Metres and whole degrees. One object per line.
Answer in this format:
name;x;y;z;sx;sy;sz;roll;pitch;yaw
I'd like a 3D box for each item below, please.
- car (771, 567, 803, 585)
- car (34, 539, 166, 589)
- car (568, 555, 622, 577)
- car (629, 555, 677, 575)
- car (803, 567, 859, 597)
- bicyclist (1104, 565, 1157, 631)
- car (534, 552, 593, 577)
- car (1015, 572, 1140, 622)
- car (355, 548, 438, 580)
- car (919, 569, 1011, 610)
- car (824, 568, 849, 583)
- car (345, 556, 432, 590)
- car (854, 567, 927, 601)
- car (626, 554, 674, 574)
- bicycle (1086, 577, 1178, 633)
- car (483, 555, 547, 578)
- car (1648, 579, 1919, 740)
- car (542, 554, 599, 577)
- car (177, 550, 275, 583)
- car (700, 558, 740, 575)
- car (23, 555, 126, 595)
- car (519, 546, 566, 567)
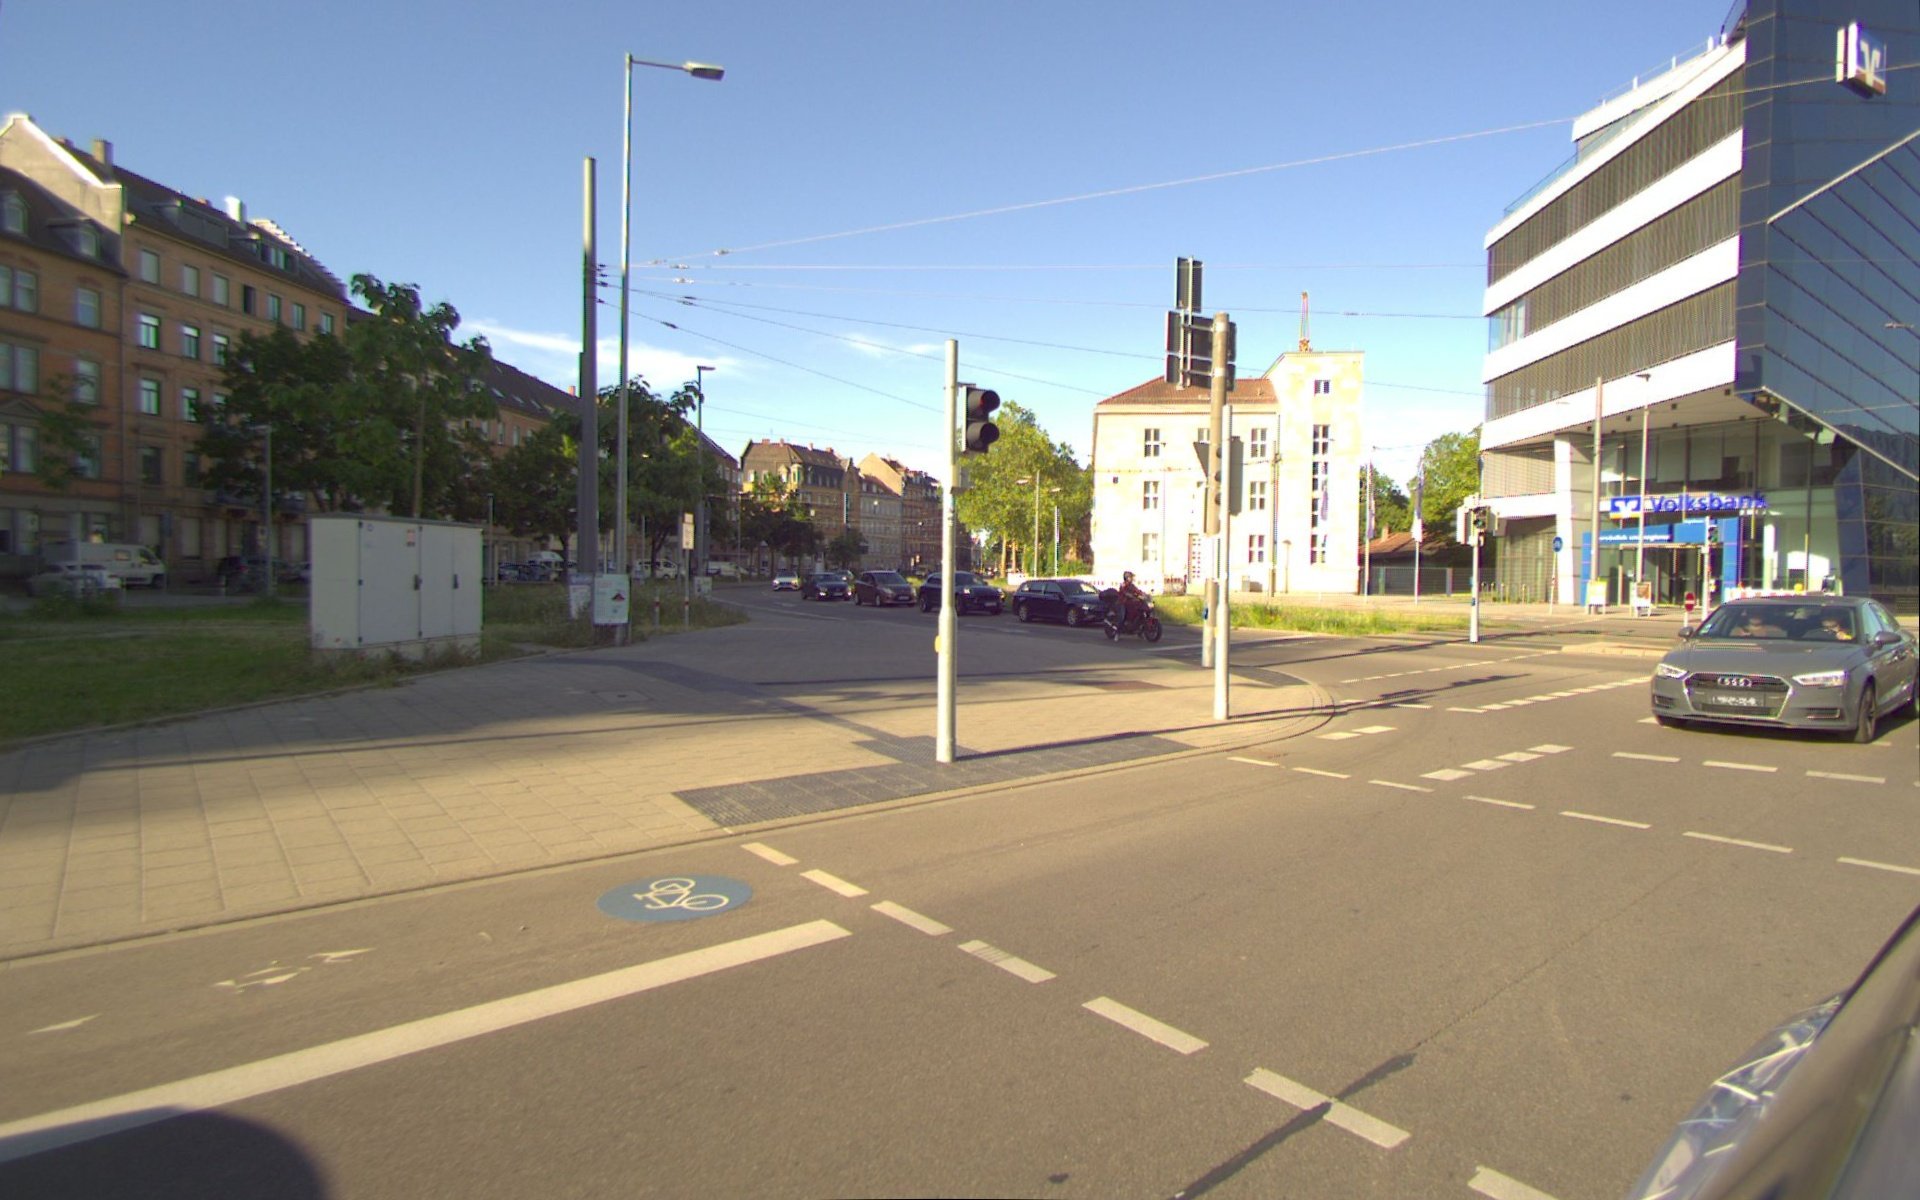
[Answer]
car;-12.657;-1.752;74.106;1.960;1.259;4.005;0;2;-5
car;-40.458;-1.683;47.754;1.967;2.239;4.583;1;2;9
car;-29.226;-2.728;81.105;3.917;1.738;2.004;0;2;-26
car;-27.435;-3.137;90.433;3.917;1.738;2.004;0;2;-26
car;-6.805;-0.965;52.896;1.958;1.439;4.537;0;2;-20
bicyclist;4.329;-0.067;25.690;0.862;1.627;1.009;0;2;-33
car;-29.335;-2.614;74.930;3.917;1.738;2.004;0;2;-26
car;3.684;-0.144;32.517;1.959;1.439;4.303;0;2;-26
car;-31.292;-1.999;56.230;3.923;1.738;2.001;-1;2;-34
car;0.146;-0.442;39.200;1.959;1.439;4.007;0;2;-26
car;-12.329;-2.475;100.932;1.898;1.393;4.000;1;2;1
car;-30.466;-1.440;53.941;3.923;1.738;2.001;-1;2;-34
car;-3.202;-0.741;45.902;1.959;1.439;4.007;0;2;-26
car;-28.490;-3.288;93.023;4.172;1.738;2.005;0;2;-15
bicycle;4.324;0.095;25.672;0.933;1.328;2.374;0;2;-33
car;-30.254;-2.254;68.812;3.917;1.504;2.004;0;2;-26
car;9.310;0.504;11.118;4.035;1.459;1.715;-1;1;-37
car;-29.921;-2.664;77.707;3.917;1.738;2.004;0;2;-26
car;-40.473;-1.834;55.835;4.189;1.738;1.997;1;2;7
car;-26.242;-3.680;110.591;3.917;1.838;2.004;0;2;-24
car;-33.321;-0.953;38.067;3.972;1.415;1.976;2;2;34
car;-36.569;-3.774;88.719;1.966;1.738;4.255;1;2;7
